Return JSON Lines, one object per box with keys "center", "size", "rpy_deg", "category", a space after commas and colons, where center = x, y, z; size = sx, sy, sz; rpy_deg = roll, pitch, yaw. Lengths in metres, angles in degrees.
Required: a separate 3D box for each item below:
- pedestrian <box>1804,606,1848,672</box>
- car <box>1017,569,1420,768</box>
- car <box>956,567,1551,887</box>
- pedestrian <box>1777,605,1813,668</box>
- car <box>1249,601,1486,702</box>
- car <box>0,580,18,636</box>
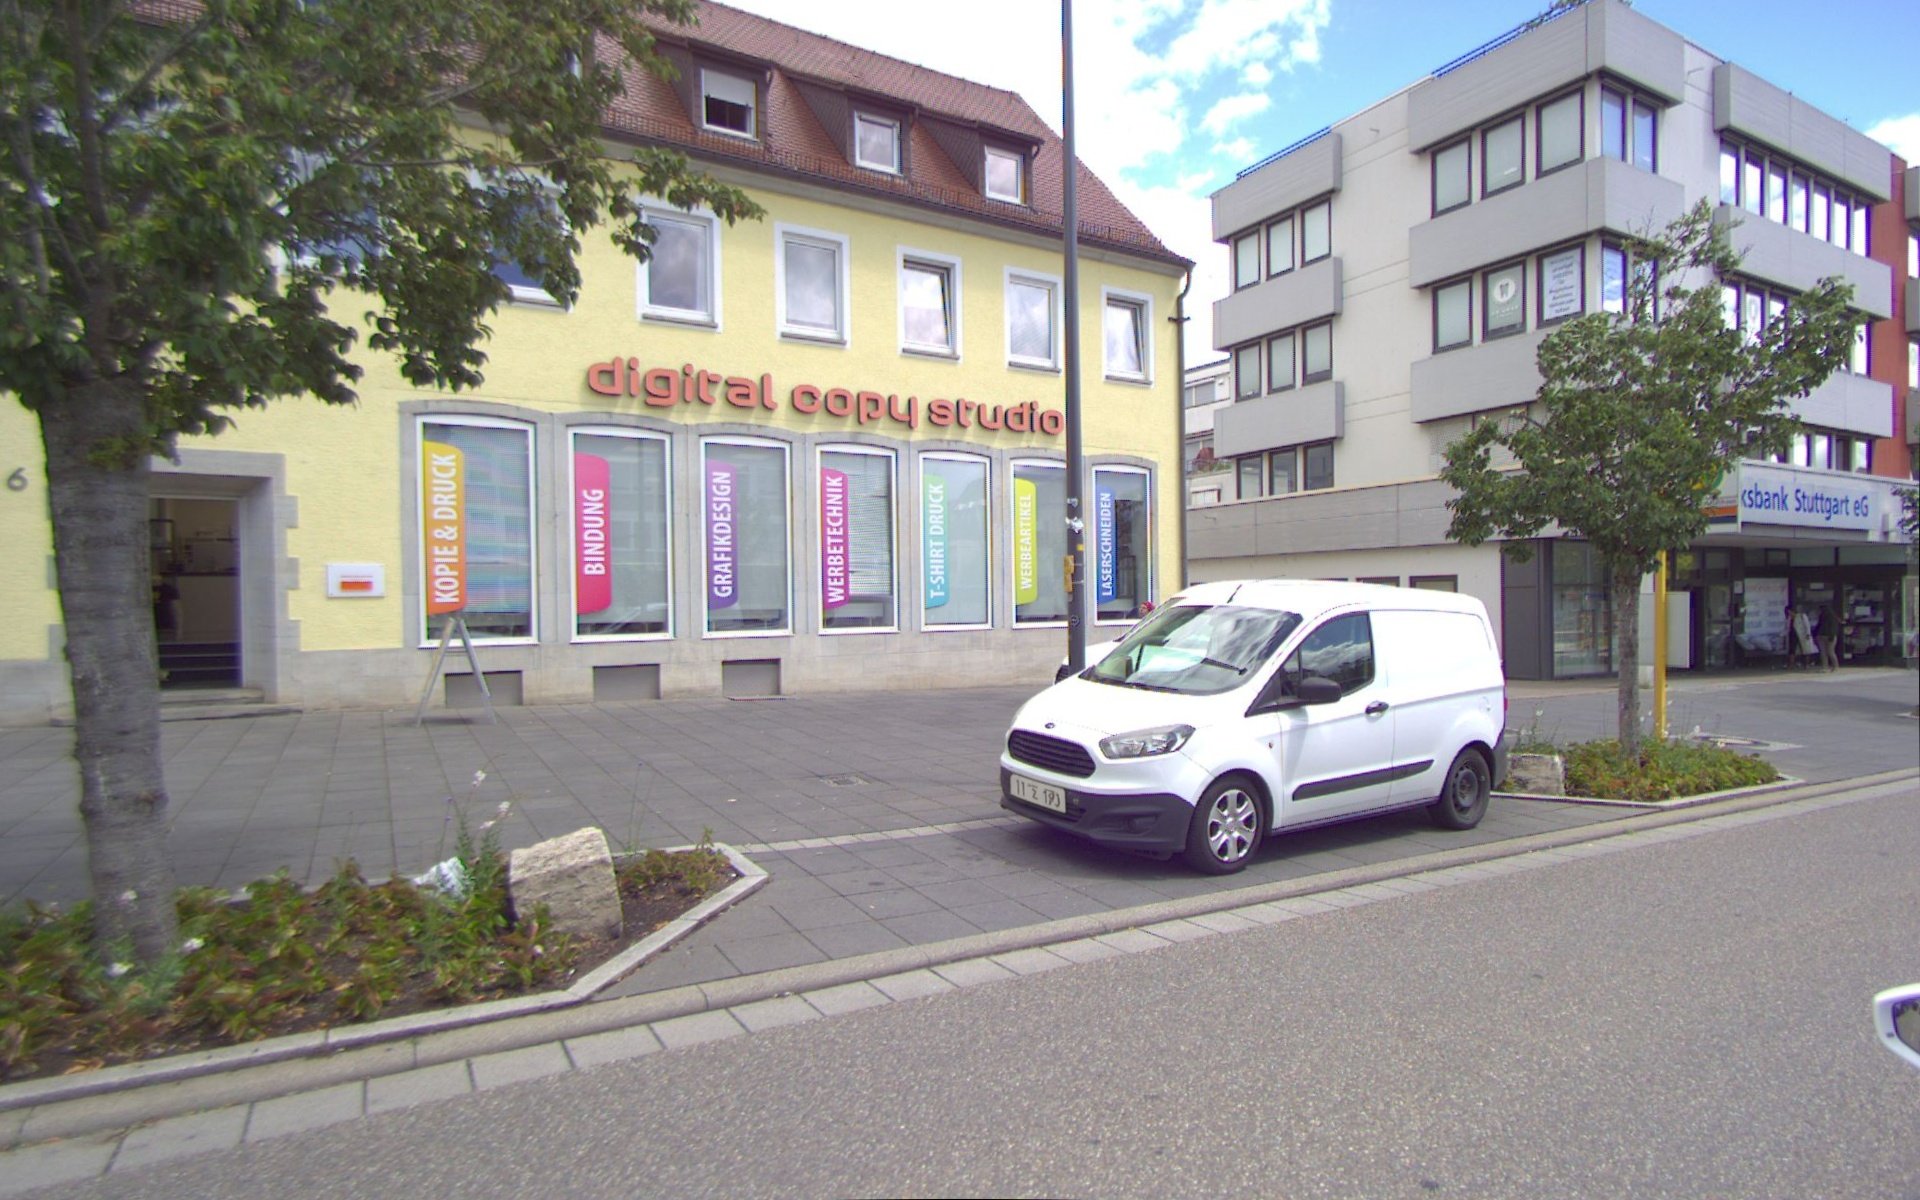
{"center": [21.169, 0.949, 24.552], "size": [0.579, 1.587, 0.640], "rpy_deg": [1, -2, -28], "category": "pedestrian"}
{"center": [2.961, 0.660, 11.188], "size": [4.426, 1.838, 1.747], "rpy_deg": [1, 1, -32], "category": "car"}
{"center": [2.233, 0.702, 7.170], "size": [4.303, 1.694, 1.647], "rpy_deg": [1, 0, -33], "category": "car"}
{"center": [21.236, 0.933, 25.538], "size": [0.579, 1.587, 0.508], "rpy_deg": [1, -2, -28], "category": "pedestrian"}
{"center": [7.179, 0.836, 17.979], "size": [1.652, 1.579, 3.603], "rpy_deg": [1, 0, -35], "category": "car"}
{"center": [-33.023, 0.237, 32.316], "size": [3.922, 1.830, 1.479], "rpy_deg": [1, 0, -43], "category": "car"}
